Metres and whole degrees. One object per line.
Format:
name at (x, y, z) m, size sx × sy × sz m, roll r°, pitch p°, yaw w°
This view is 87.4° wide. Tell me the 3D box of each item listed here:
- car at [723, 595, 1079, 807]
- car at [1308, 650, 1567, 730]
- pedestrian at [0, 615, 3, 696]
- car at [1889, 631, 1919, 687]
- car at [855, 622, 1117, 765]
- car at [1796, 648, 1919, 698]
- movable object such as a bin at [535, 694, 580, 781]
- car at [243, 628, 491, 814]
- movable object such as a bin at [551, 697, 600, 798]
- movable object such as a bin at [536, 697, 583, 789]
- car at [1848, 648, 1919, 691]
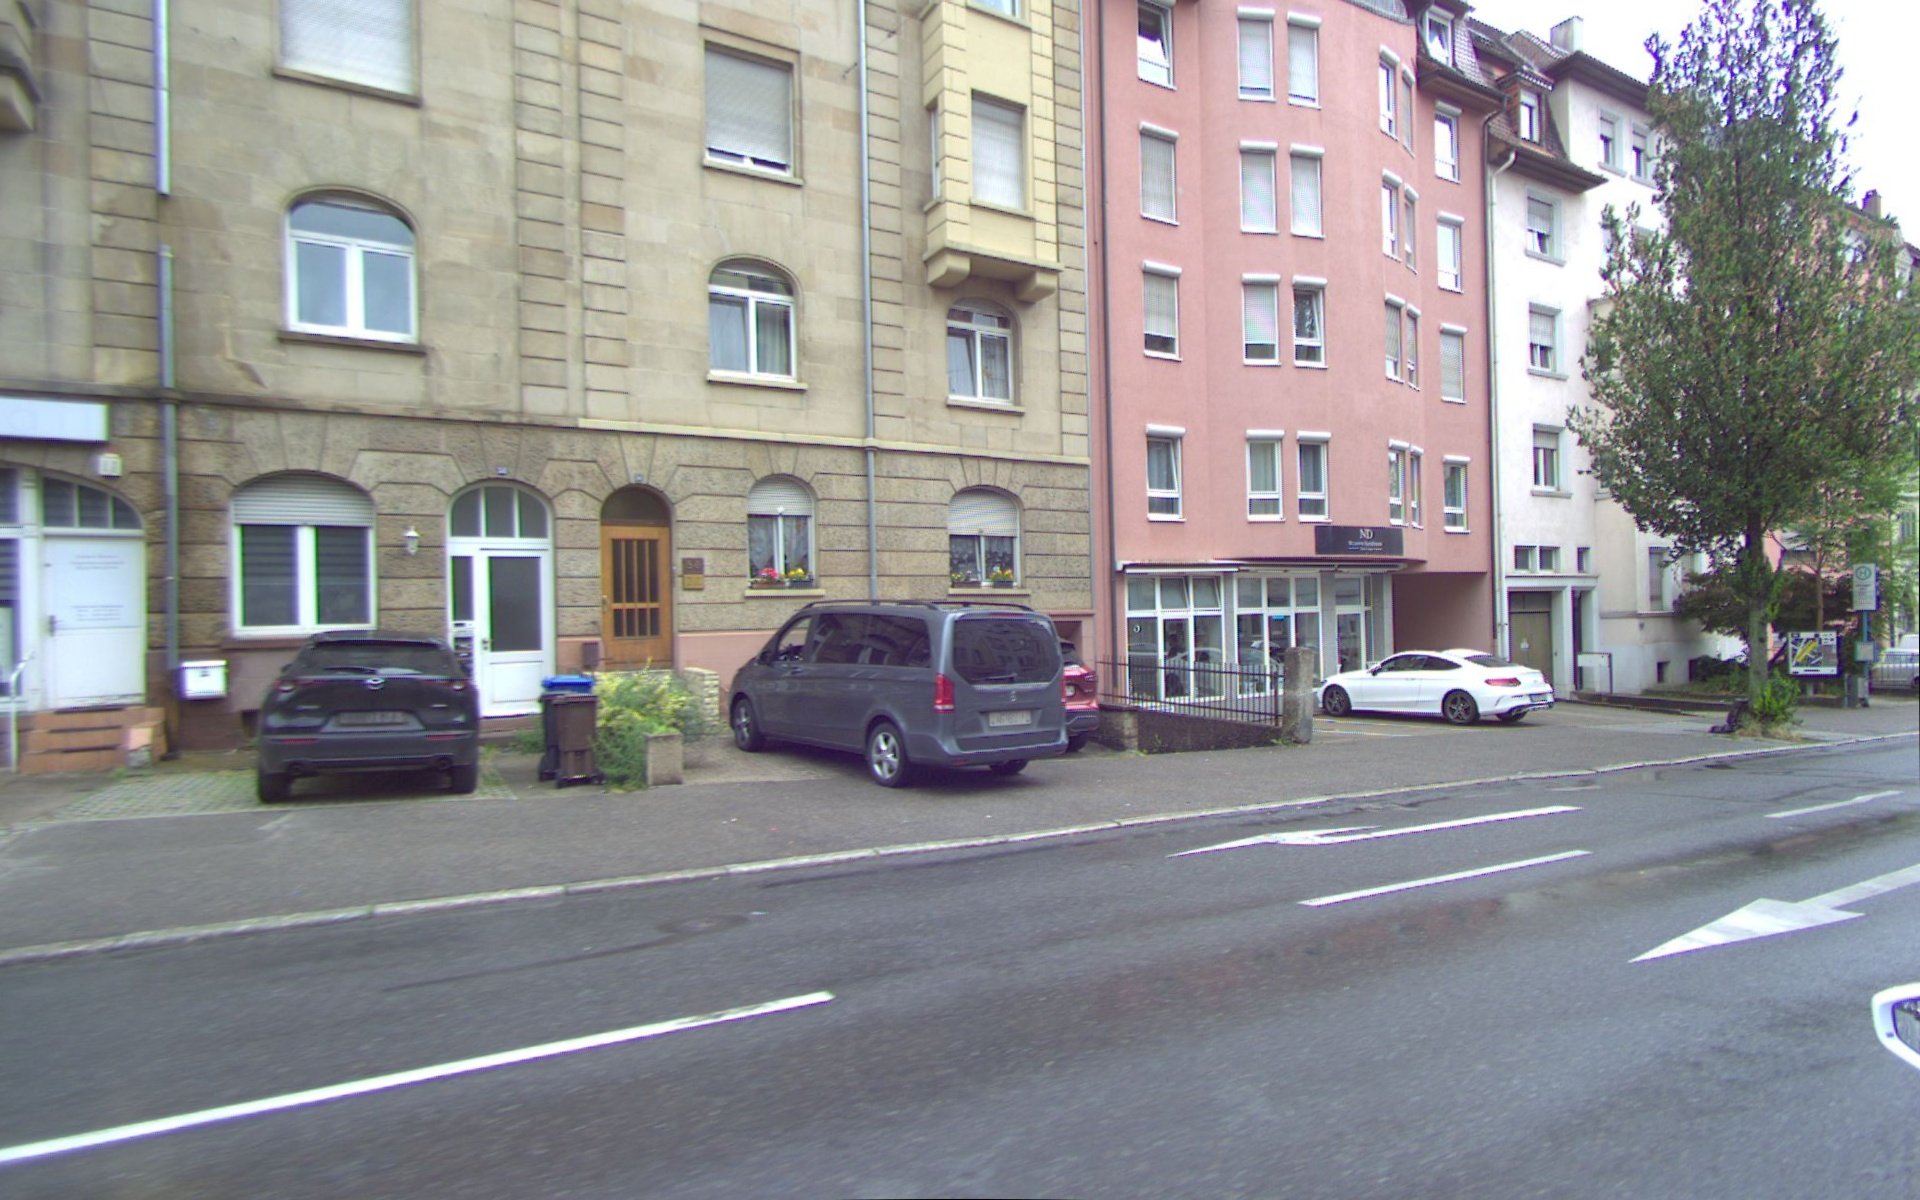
car at (-0.914, 0.958, 11.919) m, size 1.847 × 1.964 × 4.636 m, roll 1°, pitch 0°, yaw -39°
car at (9.405, 1.714, 20.210) m, size 1.747 × 1.419 × 4.527 m, roll 1°, pitch -3°, yaw -30°
pedestrian at (-9.868, 1.045, 9.859) m, size 0.559 × 1.800 × 0.474 m, roll 2°, pitch -1°, yaw -34°
car at (36.198, 2.090, 35.297) m, size 2.024 × 1.999 × 4.808 m, roll 1°, pitch -3°, yaw -30°
car at (0.213, 1.207, 14.467) m, size 1.875 × 1.612 × 4.076 m, roll 2°, pitch 0°, yaw -30°
car at (28.971, 2.262, 31.567) m, size 1.776 × 1.476 × 3.854 m, roll 2°, pitch -3°, yaw -37°
movable object such as a bin at (-4.571, 1.547, 11.397) m, size 0.434 × 0.916 × 0.503 m, roll 1°, pitch 0°, yaw -25°
car at (-6.135, 1.152, 10.584) m, size 1.851 × 1.530 × 4.130 m, roll 1°, pitch -4°, yaw -30°
movable object such as a bin at (-4.007, 1.518, 10.458) m, size 0.434 × 0.963 × 0.503 m, roll 1°, pitch 0°, yaw -25°
movable object such as a bin at (-4.347, 1.536, 10.888) m, size 0.434 × 0.916 × 0.503 m, roll 1°, pitch 0°, yaw -25°
car at (33.768, 2.403, 34.646) m, size 1.772 × 1.470 × 4.408 m, roll 2°, pitch -3°, yaw -32°
